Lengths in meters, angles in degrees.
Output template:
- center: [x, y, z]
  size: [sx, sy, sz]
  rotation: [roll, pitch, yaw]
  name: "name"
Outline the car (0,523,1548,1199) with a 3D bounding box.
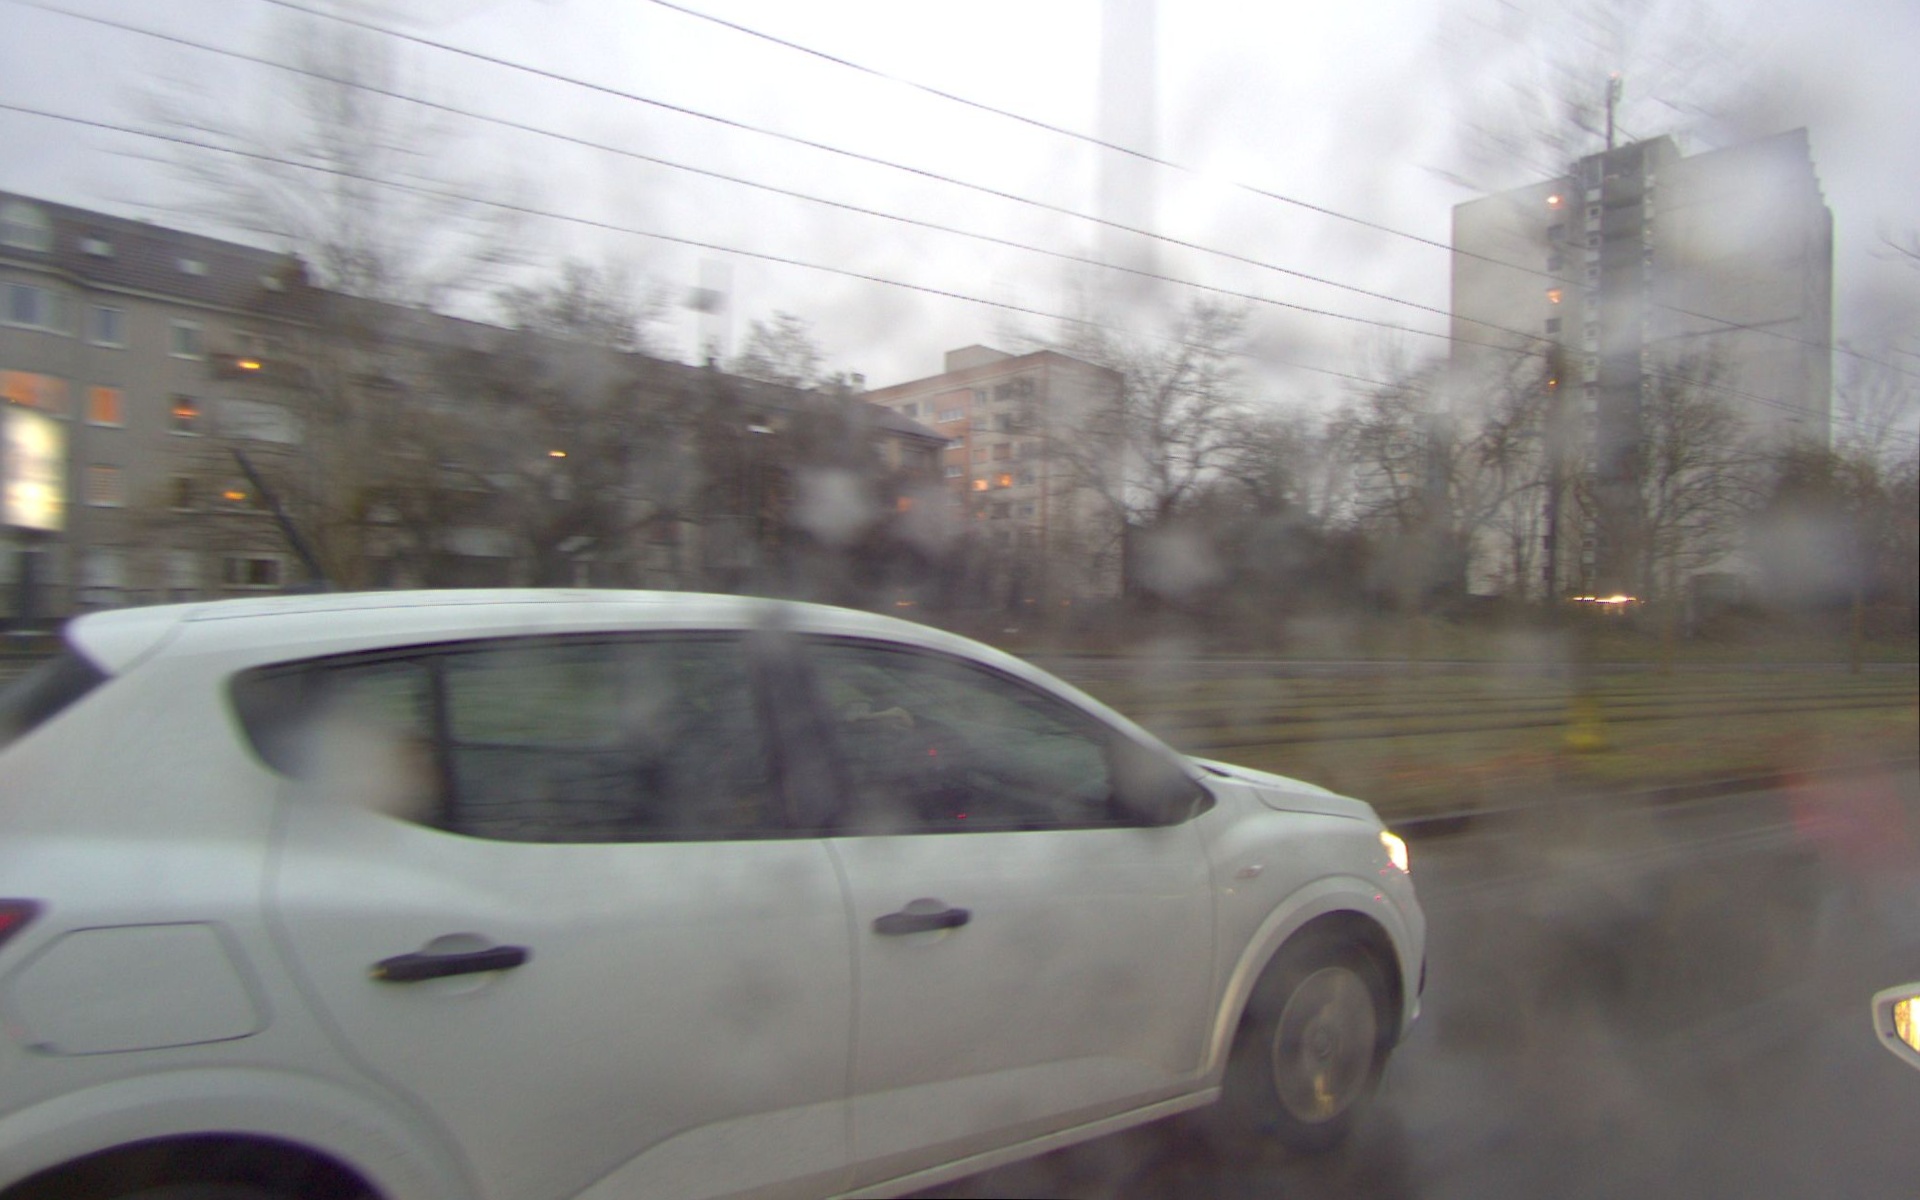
- center: [-0.376, 0.711, 2.815]
  size: [4.086, 1.545, 1.701]
  rotation: [2, -1, -30]
  name: "car"
